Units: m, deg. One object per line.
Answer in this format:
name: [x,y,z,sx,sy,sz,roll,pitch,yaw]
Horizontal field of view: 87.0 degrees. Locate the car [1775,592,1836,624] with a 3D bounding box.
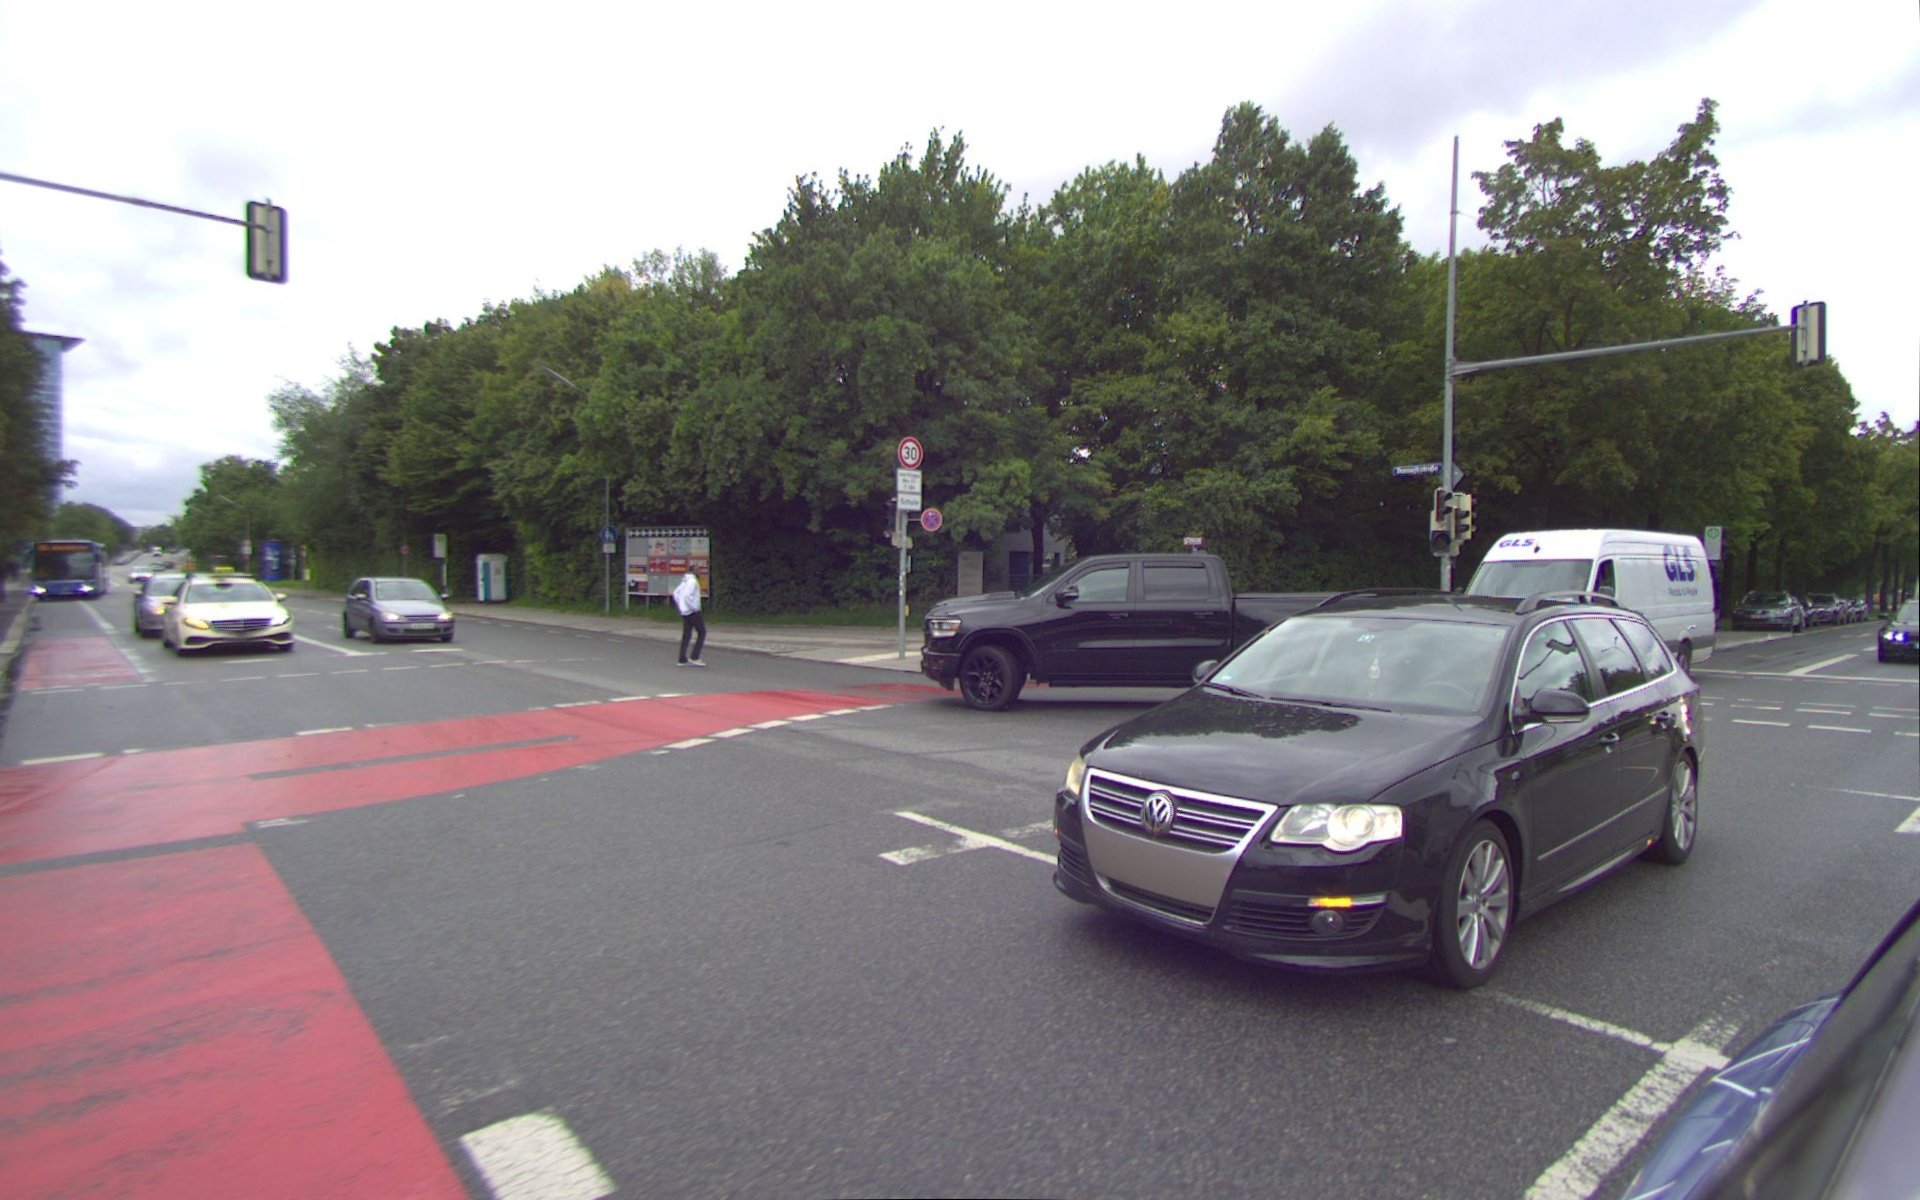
car: [40.981,0.344,49.024,4.183,1.446,1.749,-1,2,-43]

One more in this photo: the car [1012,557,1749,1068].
car: [2.484,0.591,5.173,4.592,1.493,1.749,-1,1,-43]

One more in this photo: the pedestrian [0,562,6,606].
pedestrian: [-40.518,-0.679,42.427,0.595,1.849,0.708,0,1,-31]

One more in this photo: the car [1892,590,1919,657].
car: [22.968,0.510,23.242,4.590,1.447,1.818,0,2,-41]

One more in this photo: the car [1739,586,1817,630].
car: [33.488,0.273,41.383,4.322,1.670,1.881,0,2,-43]

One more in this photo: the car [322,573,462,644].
car: [-12.957,0.135,23.012,3.934,1.472,1.603,2,1,42]

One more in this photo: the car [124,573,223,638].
car: [-19.737,0.085,25.336,1.600,1.472,3.941,0,2,-43]

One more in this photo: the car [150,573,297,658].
car: [-14.898,0.226,20.379,1.856,1.516,4.304,0,2,-44]

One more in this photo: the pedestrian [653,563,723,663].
pedestrian: [-4.832,0.211,17.998,0.758,1.724,0.926,1,1,39]

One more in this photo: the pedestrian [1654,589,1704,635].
pedestrian: [22.266,0.367,31.348,0.601,1.401,1.154,0,-2,-43]

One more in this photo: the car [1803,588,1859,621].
car: [45.376,0.202,52.673,4.183,1.670,1.749,0,1,-43]

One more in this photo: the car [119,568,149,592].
car: [-71.841,-1.773,88.010,1.964,2.039,3.996,0,2,-39]

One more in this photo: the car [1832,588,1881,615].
car: [52.654,0.074,59.390,4.183,1.485,1.749,-1,2,-43]

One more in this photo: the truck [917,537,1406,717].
truck: [2.373,0.284,12.983,5.704,2.039,2.105,1,1,2]

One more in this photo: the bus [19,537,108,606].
bus: [-47.759,-1.546,54.160,2.683,3.323,11.887,0,1,-37]

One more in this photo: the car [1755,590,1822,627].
car: [37.064,0.353,45.238,4.322,1.543,1.749,-1,2,-43]

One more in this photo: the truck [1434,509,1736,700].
truck: [10.668,0.015,16.936,7.095,2.636,1.999,-1,1,-38]
